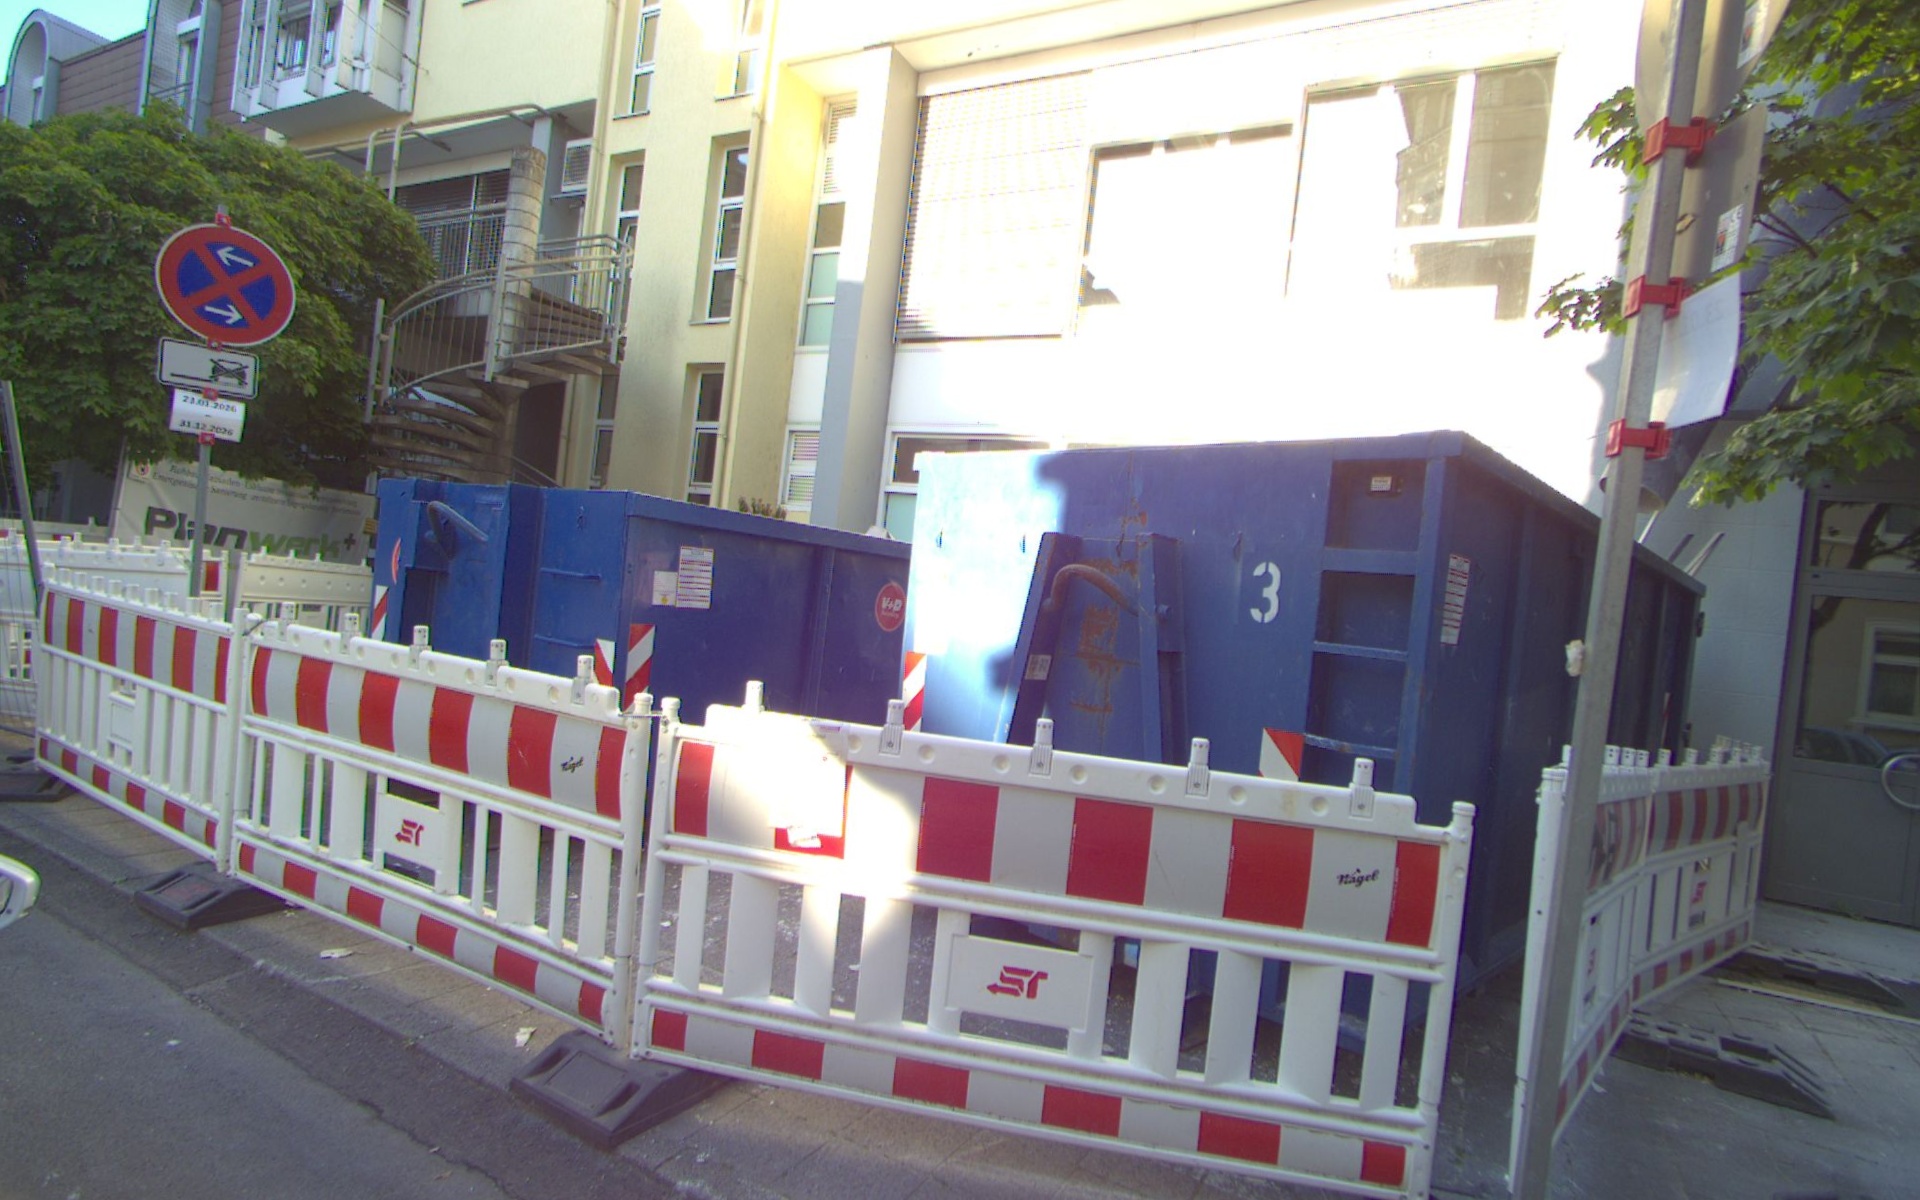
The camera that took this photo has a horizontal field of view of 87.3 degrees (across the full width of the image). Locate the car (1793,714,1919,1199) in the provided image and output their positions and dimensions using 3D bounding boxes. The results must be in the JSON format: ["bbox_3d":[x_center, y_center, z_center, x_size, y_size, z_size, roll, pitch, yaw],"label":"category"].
[{"bbox_3d":[2.951,1.125,0.487,3.668,1.495,1.677,7,1,32],"label":"car"}]
